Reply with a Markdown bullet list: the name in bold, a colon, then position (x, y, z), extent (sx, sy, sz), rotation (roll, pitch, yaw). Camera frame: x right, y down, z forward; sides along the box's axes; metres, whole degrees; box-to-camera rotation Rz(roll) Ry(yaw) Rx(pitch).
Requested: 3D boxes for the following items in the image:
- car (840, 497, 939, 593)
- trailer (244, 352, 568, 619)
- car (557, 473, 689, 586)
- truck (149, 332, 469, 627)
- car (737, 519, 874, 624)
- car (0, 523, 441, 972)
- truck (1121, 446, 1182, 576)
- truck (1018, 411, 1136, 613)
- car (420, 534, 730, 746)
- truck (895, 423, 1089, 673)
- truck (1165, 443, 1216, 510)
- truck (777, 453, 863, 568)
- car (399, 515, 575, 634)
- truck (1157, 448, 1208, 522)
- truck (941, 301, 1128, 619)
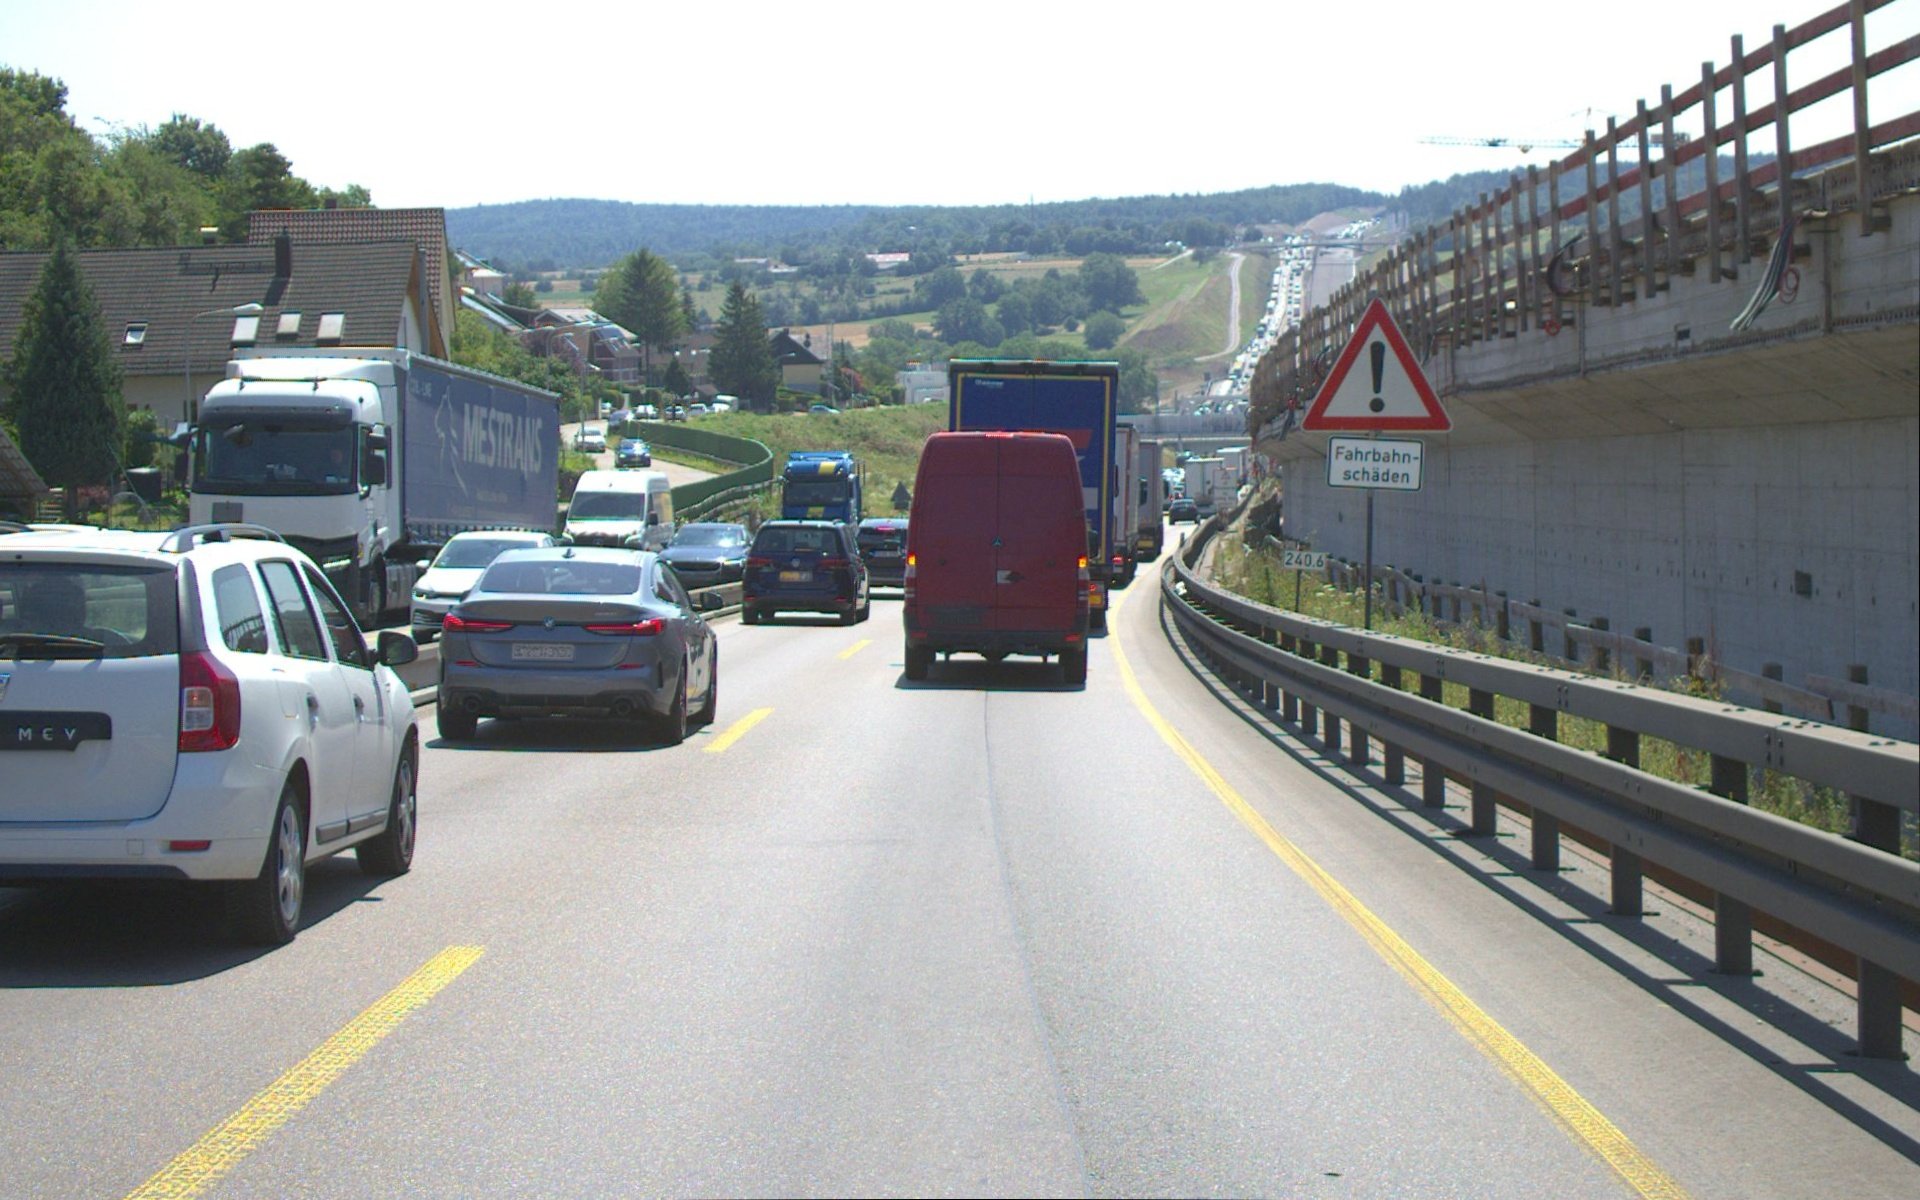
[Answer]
- **car**: position (-1.366, -1.062, 68.118), extent (1.729, 1.832, 4.000), rotation (0, 0, 2)
- **trailer**: position (-9.144, -1.884, 58.412), extent (3.135, 4.065, 11.818), rotation (0, 1, 2)
- **car**: position (-7.953, -1.682, 81.697), extent (2.005, 2.594, 5.978), rotation (0, 1, 6)
- **truck**: position (-9.481, -1.747, 50.925), extent (3.135, 4.065, 6.879), rotation (0, 1, 3)
- **car**: position (-2.429, -0.437, 54.860), extent (1.810, 1.602, 3.718), rotation (0, 0, 3)
- **car**: position (-3.238, 0.496, 13.687), extent (1.651, 1.478, 4.266), rotation (-2, 0, 0)
- **truck**: position (6.581, -3.013, 117.762), extent (1.994, 4.366, 3.999), rotation (0, 0, 4)
- **truck**: position (3.033, -2.091, 86.462), extent (2.786, 4.799, 9.684), rotation (0, 0, 3)
- **car**: position (-2.837, 0.272, 26.152), extent (1.795, 1.480, 4.049), rotation (0, 0, 2)
- **truck**: position (0.386, -0.539, 37.462), extent (1.993, 2.570, 4.000), rotation (0, 0, 2)
- **truck**: position (16.088, -8.580, 239.649), extent (3.468, 4.366, 8.555), rotation (0, 0, 4)
- **truck**: position (-4.976, -3.154, 123.048), extent (2.509, 3.951, 5.174), rotation (0, 0, 4)
- **car**: position (-6.309, -0.375, 46.261), extent (1.671, 1.530, 4.190), rotation (0, 1, 2)
- **truck**: position (14.124, -7.226, 217.815), extent (3.069, 4.366, 8.555), rotation (0, 0, 4)
- **truck**: position (1.364, -2.112, 56.818), extent (2.786, 4.799, 9.684), rotation (0, 0, 3)
